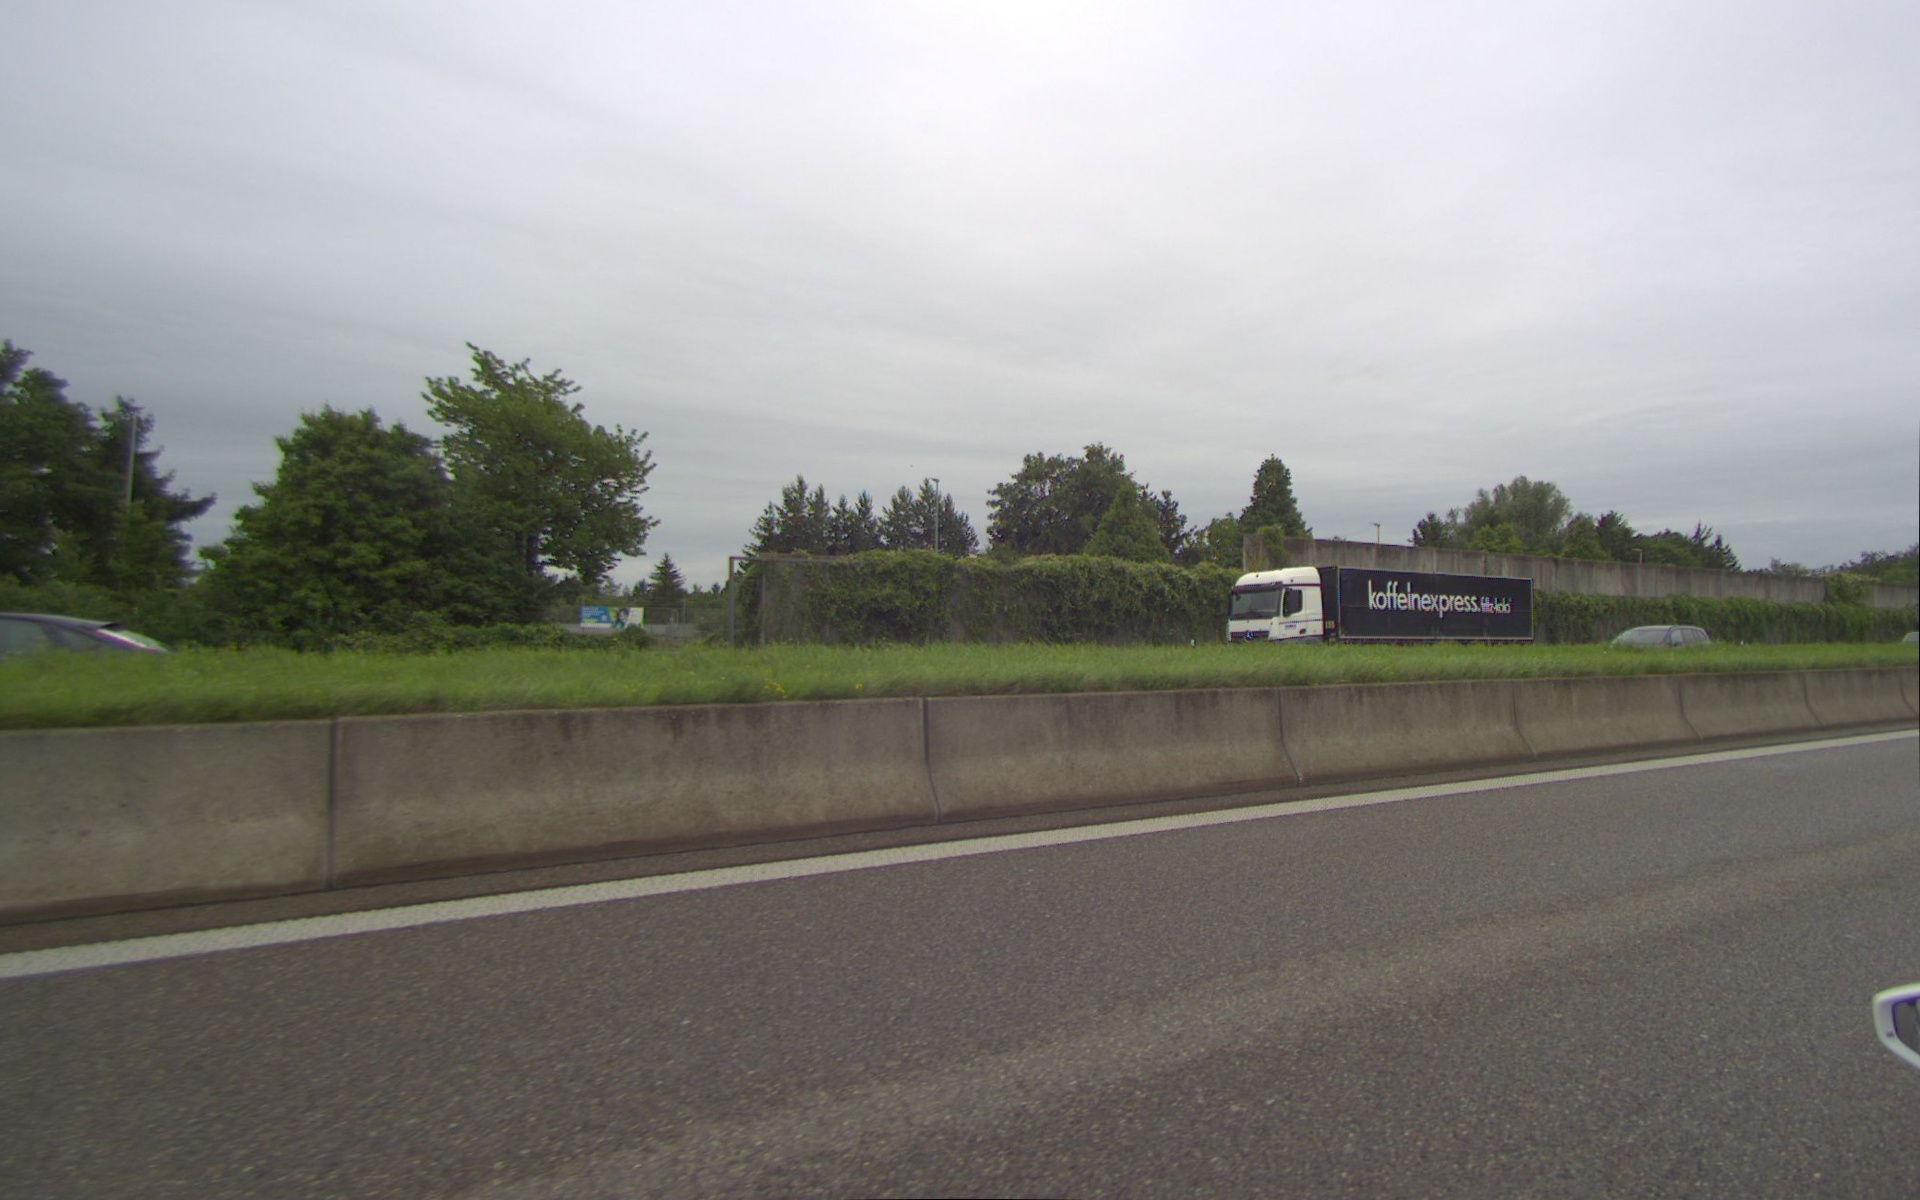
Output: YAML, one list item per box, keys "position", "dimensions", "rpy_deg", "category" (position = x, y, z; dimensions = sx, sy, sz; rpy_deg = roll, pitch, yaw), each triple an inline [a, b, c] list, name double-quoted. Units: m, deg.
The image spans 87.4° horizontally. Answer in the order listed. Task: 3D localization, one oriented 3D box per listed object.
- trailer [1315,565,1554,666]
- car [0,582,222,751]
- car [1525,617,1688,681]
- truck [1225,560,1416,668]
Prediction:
- position: [17.551, 0.652, 36.750]
  dimensions: [10.436, 3.333, 2.296]
  rpy_deg: [2, 0, -30]
  category: "trailer"
- position: [-10.742, 0.685, 11.190]
  dimensions: [3.839, 1.772, 1.812]
  rpy_deg: [2, 0, -31]
  category: "car"
- position: [18.326, 1.342, 28.439]
  dimensions: [4.686, 1.630, 1.984]
  rpy_deg: [1, 0, -30]
  category: "car"
- position: [12.109, 0.508, 33.570]
  dimensions: [6.504, 3.316, 2.305]
  rpy_deg: [2, 0, -30]
  category: "truck"
